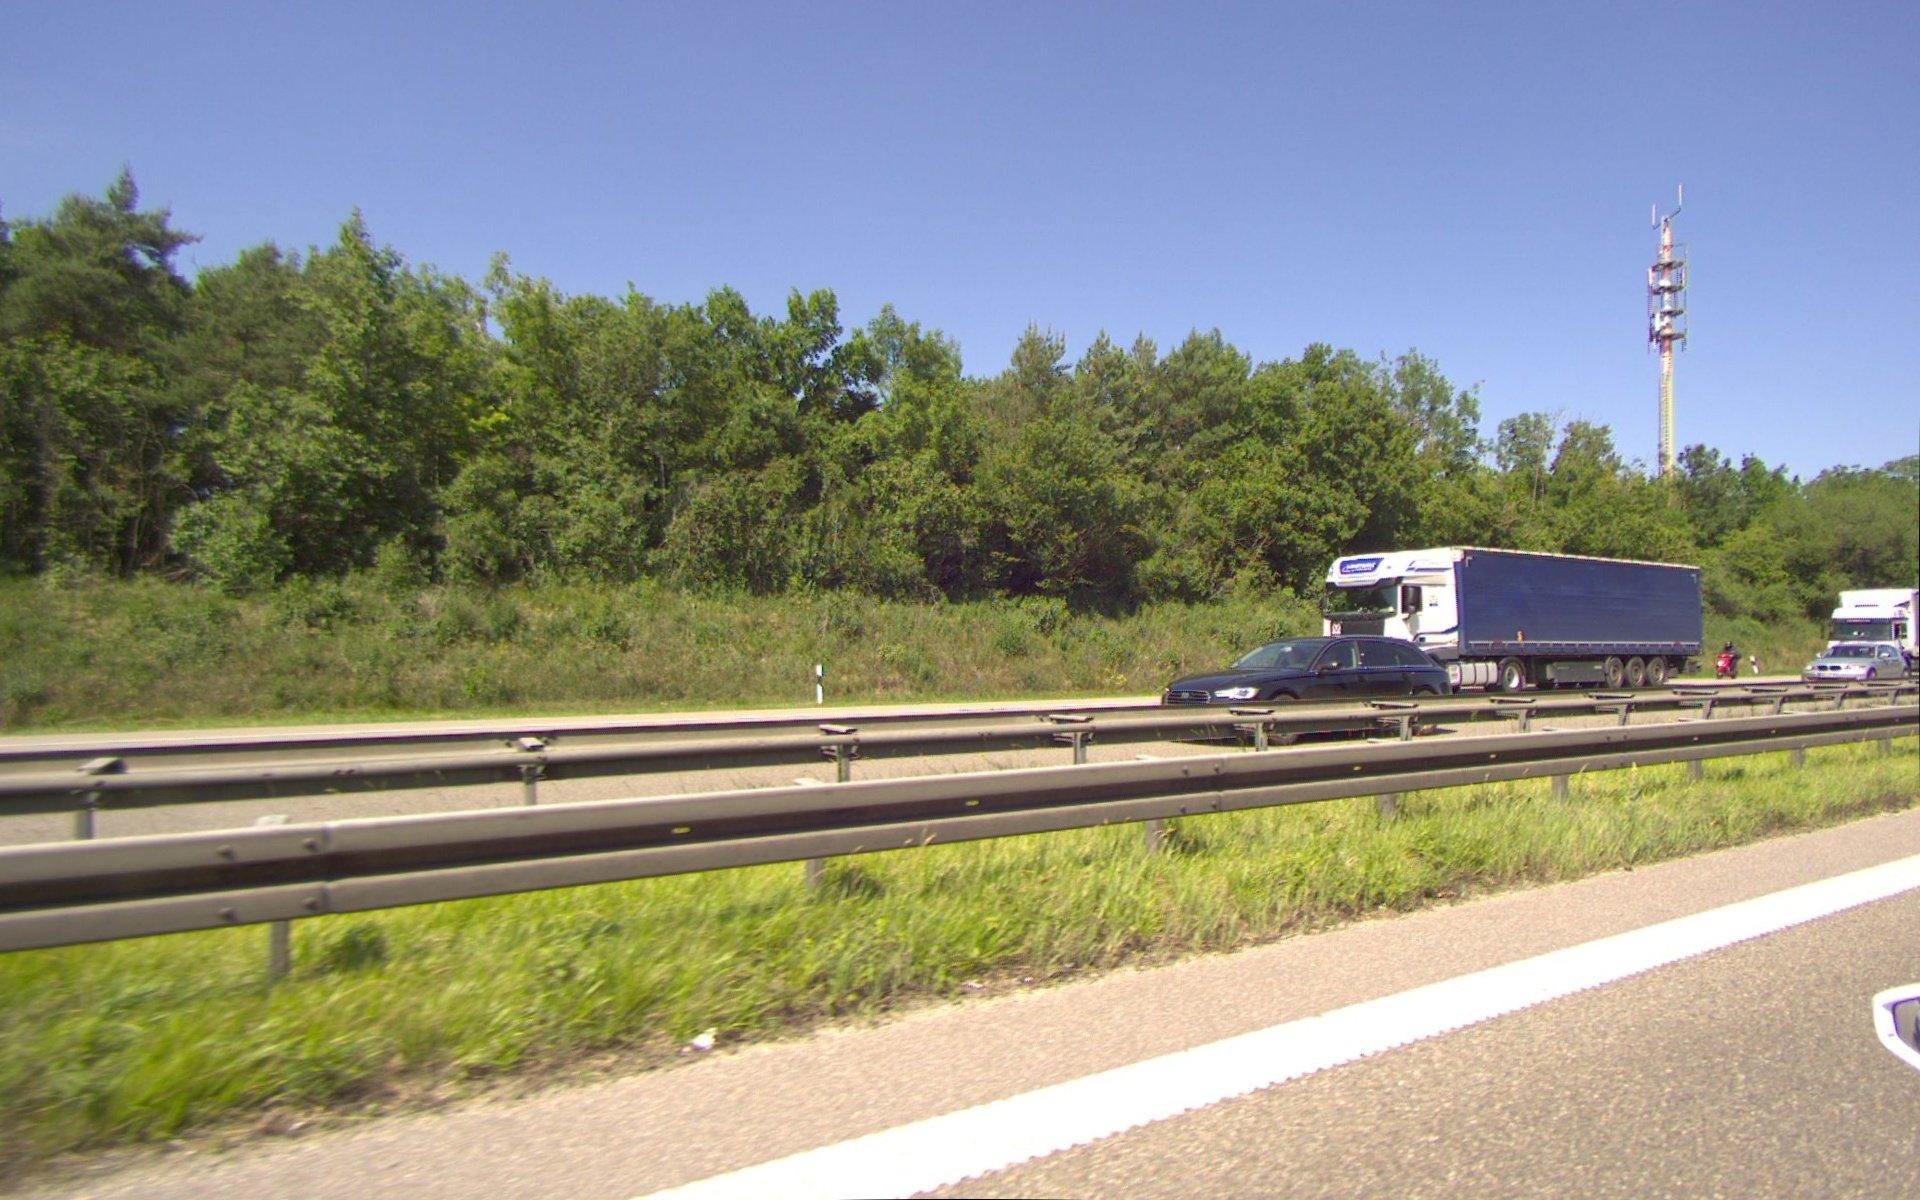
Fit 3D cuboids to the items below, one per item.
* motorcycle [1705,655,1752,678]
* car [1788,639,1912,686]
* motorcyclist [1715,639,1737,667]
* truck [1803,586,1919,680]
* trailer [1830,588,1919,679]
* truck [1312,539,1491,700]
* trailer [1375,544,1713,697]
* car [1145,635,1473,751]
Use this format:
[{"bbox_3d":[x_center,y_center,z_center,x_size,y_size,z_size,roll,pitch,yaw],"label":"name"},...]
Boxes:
[{"bbox_3d":[33.725,2.908,44.084,2.251,0.983,0.821,1,-4,-31],"label":"motorcycle"},{"bbox_3d":[28.632,1.967,32.274,4.451,1.436,1.705,1,-2,-31],"label":"car"},{"bbox_3d":[33.590,2.321,44.069,0.673,1.235,0.545,1,-2,-30],"label":"motorcyclist"},{"bbox_3d":[38.979,1.448,43.355,3.953,3.859,2.691,1,-3,-30],"label":"truck"},{"bbox_3d":[42.921,1.556,45.686,7.603,3.859,2.700,1,-3,-31],"label":"trailer"},{"bbox_3d":[12.123,0.604,27.645,3.953,4.111,2.603,1,-4,-30],"label":"truck"},{"bbox_3d":[18.768,0.765,31.588,14.004,4.111,2.603,1,-4,-31],"label":"trailer"},{"bbox_3d":[5.061,1.225,14.375,4.762,1.424,1.799,1,-2,-30],"label":"car"}]
